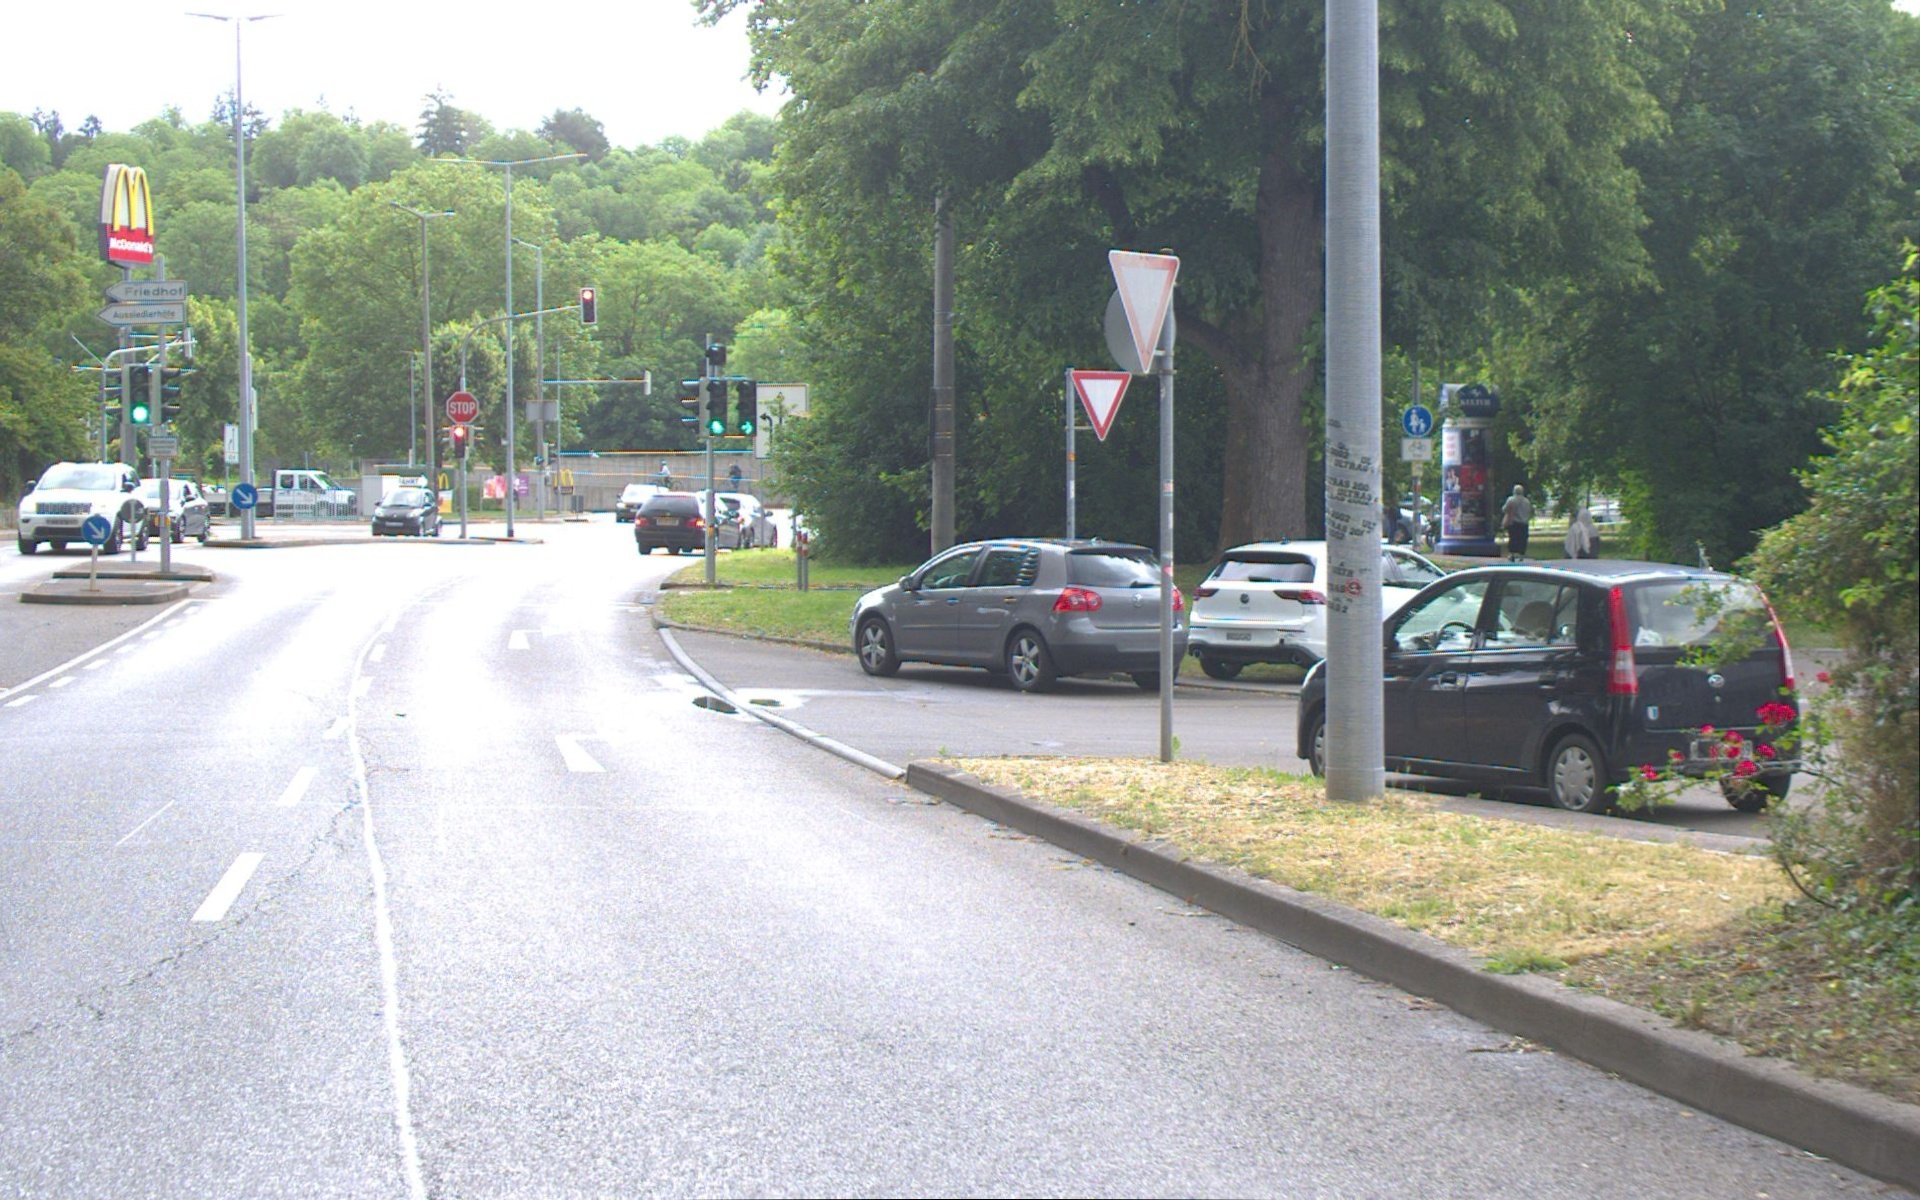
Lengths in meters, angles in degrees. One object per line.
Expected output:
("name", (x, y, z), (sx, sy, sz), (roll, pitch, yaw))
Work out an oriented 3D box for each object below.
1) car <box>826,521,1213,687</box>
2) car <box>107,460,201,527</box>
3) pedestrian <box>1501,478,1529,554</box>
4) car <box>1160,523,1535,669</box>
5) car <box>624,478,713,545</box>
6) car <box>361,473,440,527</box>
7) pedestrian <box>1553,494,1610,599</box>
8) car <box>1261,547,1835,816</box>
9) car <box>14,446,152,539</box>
("car", (0.531, -0.012, 34.546), (1.728, 1.424, 4.112), (-2, 4, -37))
("car", (-18.378, -2.453, 78.508), (1.568, 1.377, 3.951), (-2, 4, -6))
("pedestrian", (11.233, -1.704, 69.601), (0.510, 1.526, 0.778), (0, 2, 7))
("car", (4.101, -0.087, 35.887), (1.763, 1.376, 4.251), (2, 3, 41))
("car", (-6.806, -2.083, 80.560), (1.822, 1.504, 4.575), (0, 2, -2))
("car", (-16.633, -2.974, 102.249), (1.568, 1.521, 3.189), (0, 3, 5))
("pedestrian", (9.304, -0.802, 51.458), (0.683, 1.546, 0.743), (0, 2, -2))
("car", (3.496, 0.424, 20.988), (1.568, 1.399, 3.495), (-1, 3, -30))
("car", (-17.420, -2.183, 68.490), (1.910, 1.757, 4.754), (-1, 3, -5))
